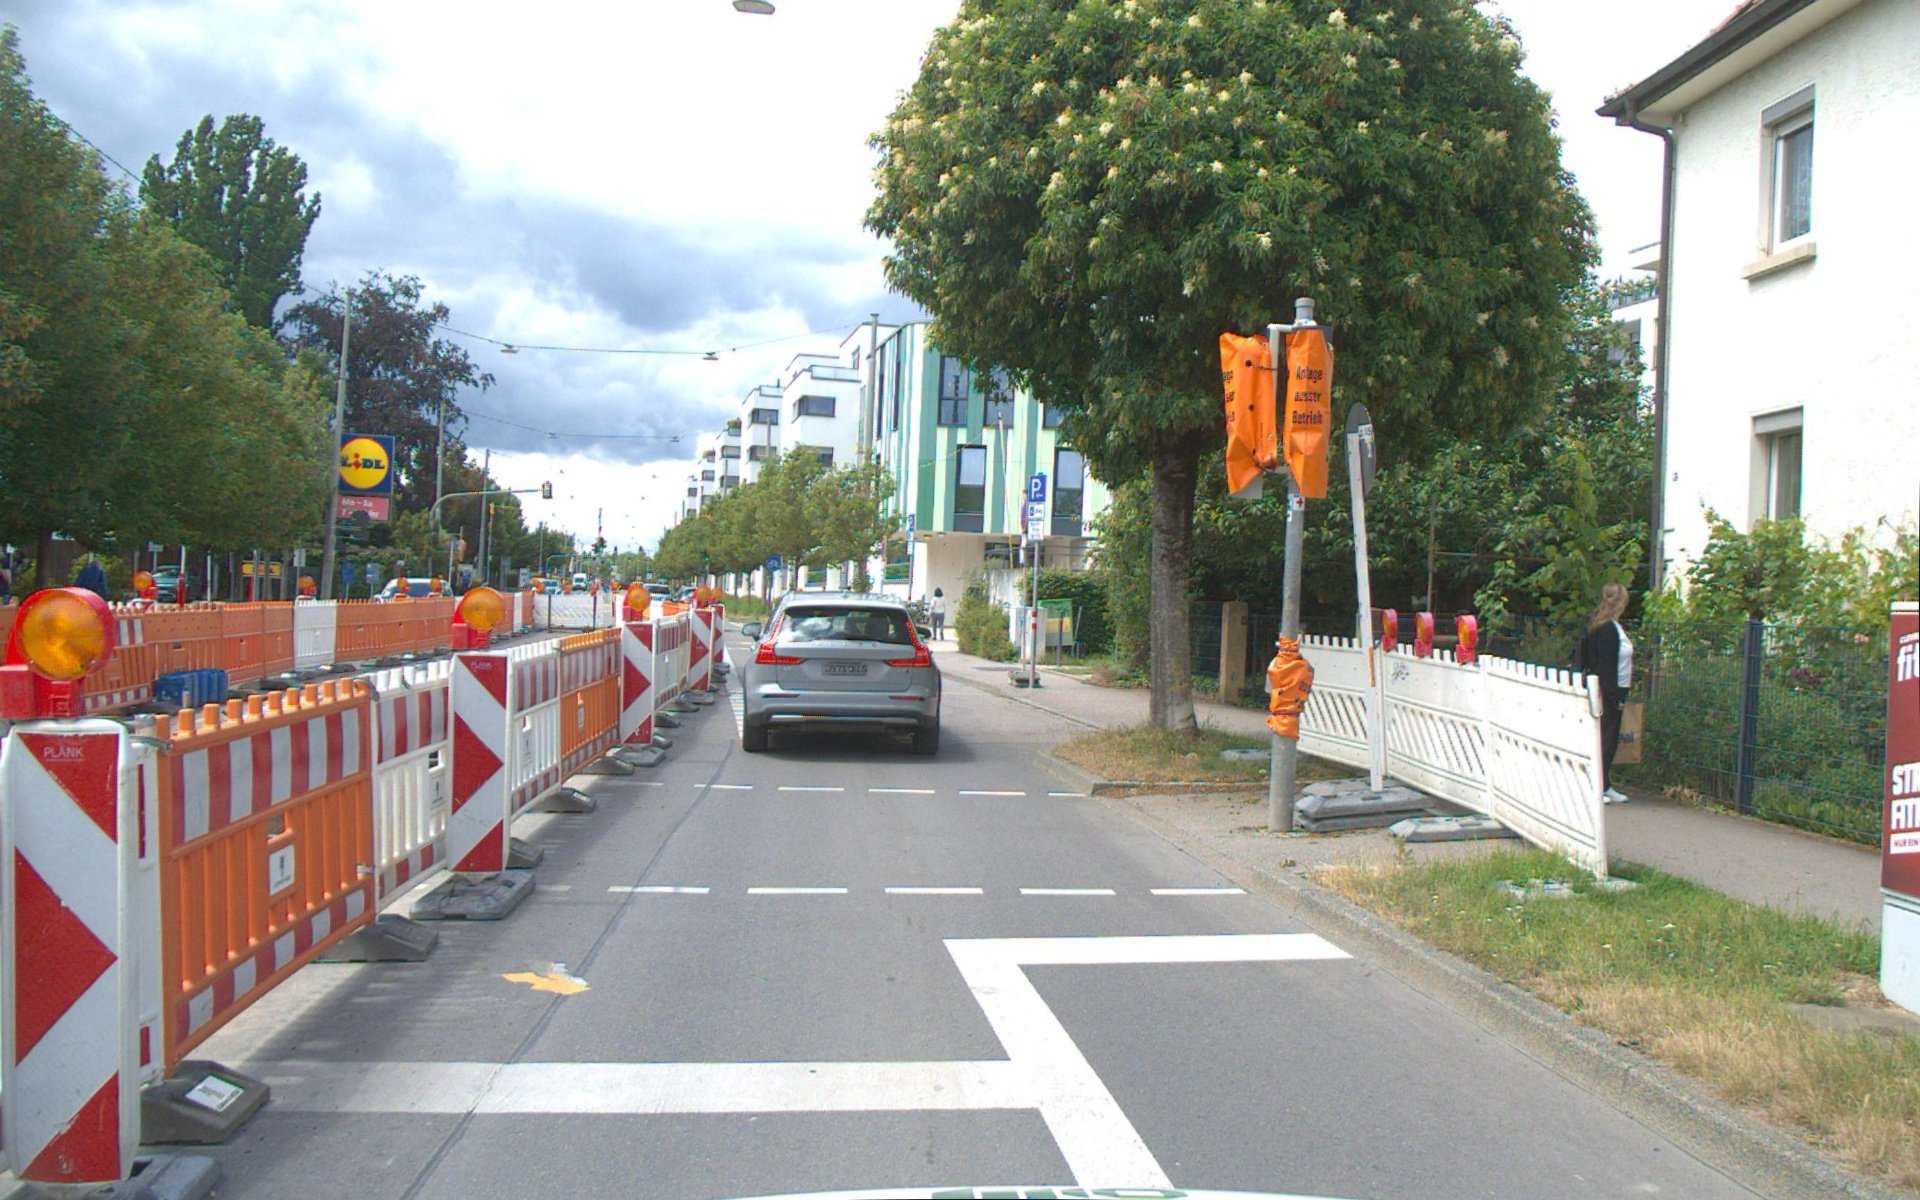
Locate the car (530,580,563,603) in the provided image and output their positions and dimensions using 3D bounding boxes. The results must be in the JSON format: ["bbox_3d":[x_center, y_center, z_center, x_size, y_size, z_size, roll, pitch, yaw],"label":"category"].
[{"bbox_3d":[-29.042,-0.587,116.191,1.820,1.539,3.992,1,0,-8],"label":"car"}]

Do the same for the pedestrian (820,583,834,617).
[{"bbox_3d":[-6.636,0.011,82.451,0.594,1.684,0.550,1,0,-13],"label":"pedestrian"}]

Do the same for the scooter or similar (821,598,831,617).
[{"bbox_3d":[-6.645,0.381,82.050,0.414,0.921,0.679,1,0,-13],"label":"scooter or similar"}]

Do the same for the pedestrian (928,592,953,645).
[{"bbox_3d":[-0.597,0.563,50.163,0.571,1.579,0.866,1,0,-13],"label":"pedestrian"}]

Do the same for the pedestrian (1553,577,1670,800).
[{"bbox_3d":[4.750,0.623,12.057,0.625,1.566,0.518,1,0,44],"label":"pedestrian"}]

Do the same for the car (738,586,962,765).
[{"bbox_3d":[-1.217,0.648,16.403,1.820,1.539,3.991,1,0,-9],"label":"car"}]

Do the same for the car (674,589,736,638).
[{"bbox_3d":[-9.005,0.440,58.208,1.822,1.539,3.987,3,0,-13],"label":"car"}]

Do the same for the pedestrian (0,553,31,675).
[{"bbox_3d":[-15.040,0.202,25.787,0.680,1.879,0.623,1,0,16],"label":"pedestrian"}]

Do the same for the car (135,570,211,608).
[{"bbox_3d":[-32.577,-0.445,68.551,1.959,1.478,3.987,1,0,-13],"label":"car"}]

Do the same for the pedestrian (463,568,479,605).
[{"bbox_3d":[-25.204,-0.716,85.261,0.669,1.887,0.889,1,0,-12],"label":"pedestrian"}]

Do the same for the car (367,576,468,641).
[{"bbox_3d":[-13.665,0.187,41.868,1.821,1.478,3.990,3,0,-10],"label":"car"}]

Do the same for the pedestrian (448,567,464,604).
[{"bbox_3d":[-25.914,-0.745,85.085,0.669,1.887,0.704,1,0,-13],"label":"pedestrian"}]

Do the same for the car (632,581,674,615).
[{"bbox_3d":[-15.406,-0.116,82.946,1.813,1.539,3.987,3,0,-13],"label":"car"}]

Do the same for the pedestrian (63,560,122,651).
[{"bbox_3d":[-15.767,0.095,30.074,0.740,1.631,0.826,1,0,-15],"label":"pedestrian"}]

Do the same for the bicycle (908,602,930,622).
[{"bbox_3d":[-1.771,0.517,71.749,0.302,0.856,1.018,1,0,44],"label":"bicycle"}]
